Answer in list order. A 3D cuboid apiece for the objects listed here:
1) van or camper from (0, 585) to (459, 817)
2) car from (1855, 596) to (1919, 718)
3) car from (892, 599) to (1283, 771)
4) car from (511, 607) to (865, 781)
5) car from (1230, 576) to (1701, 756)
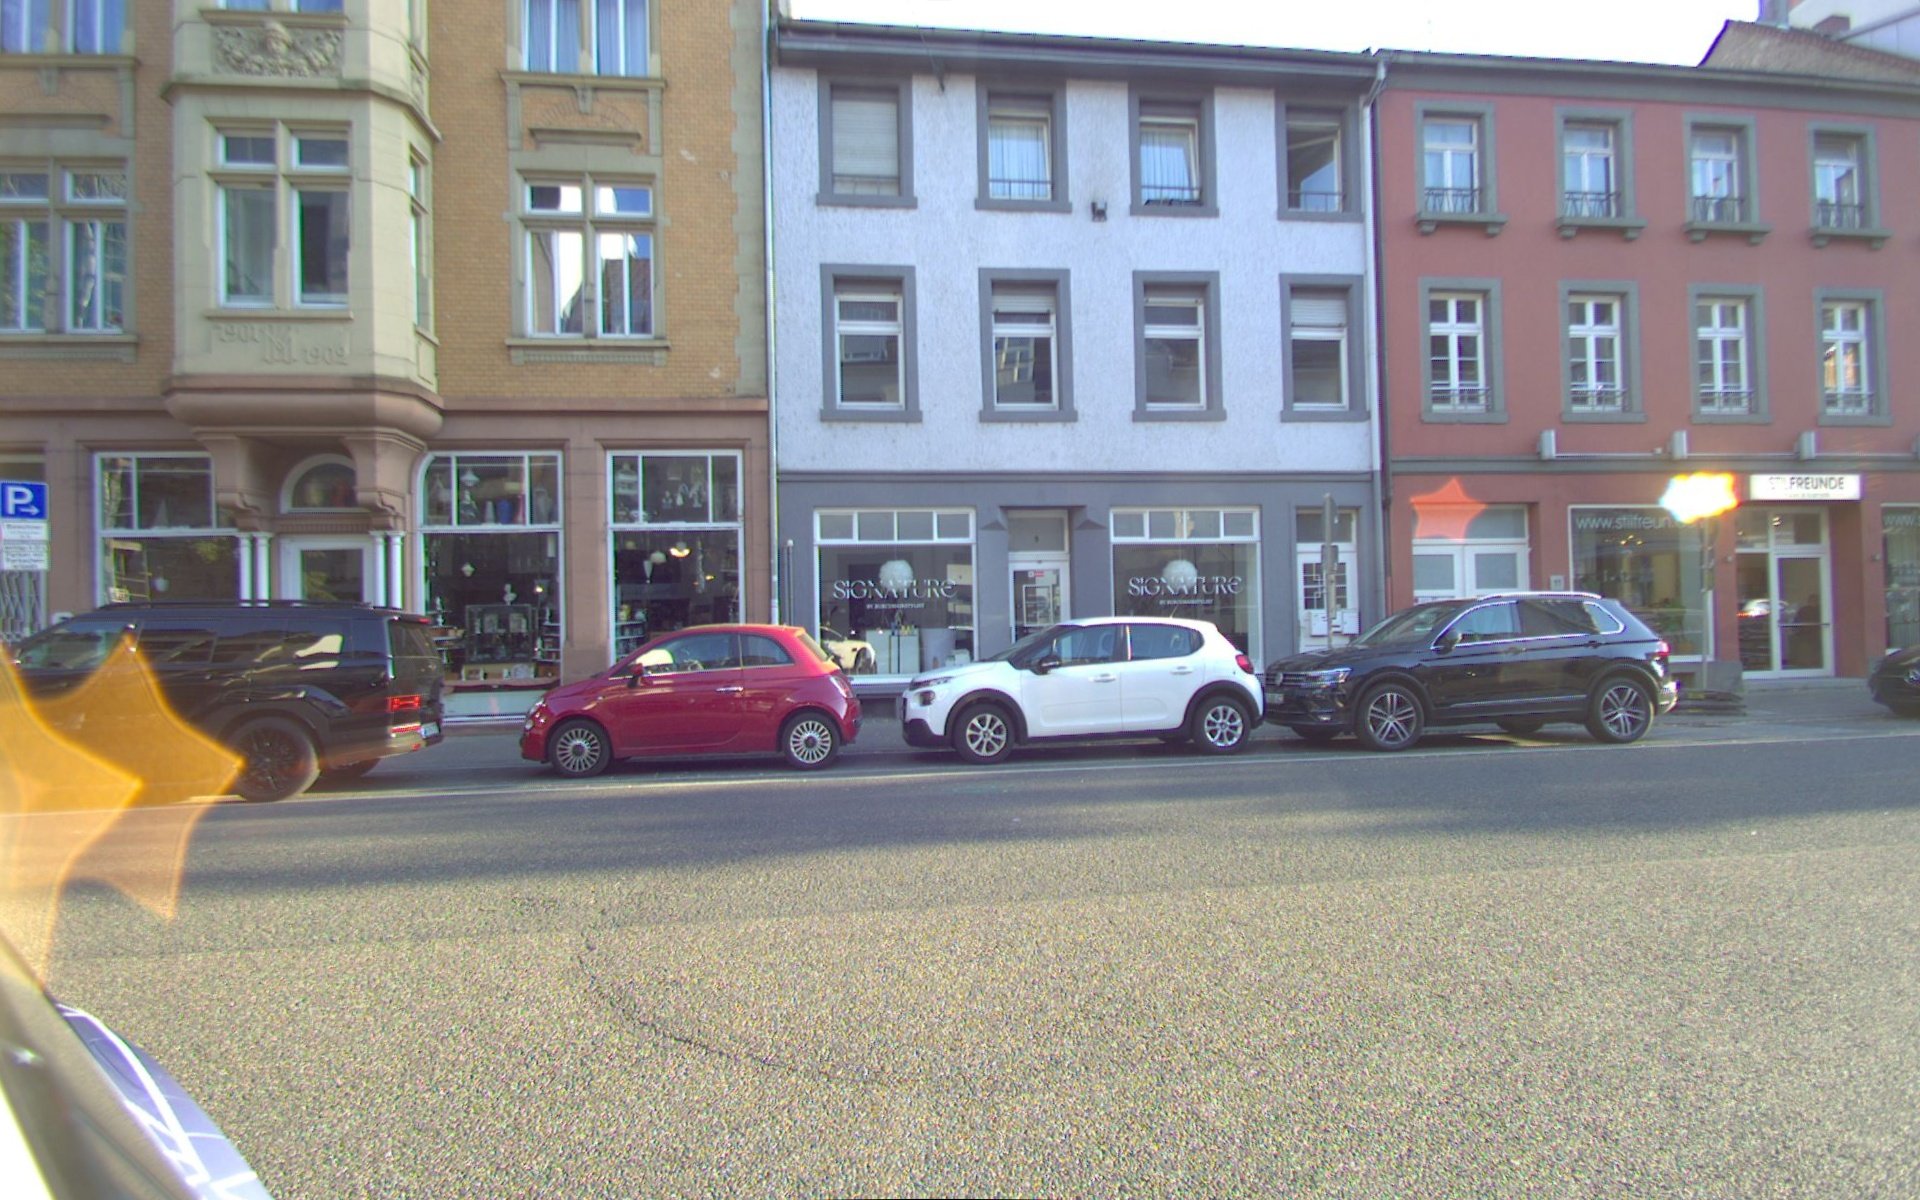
[{"bbox_3d":[-7.214,0.867,9.260,4.386,1.821,1.900,-1,-3,-13],"label":"van or camper"},{"bbox_3d":[14.036,0.637,12.691,4.340,1.499,1.693,-2,-4,-8],"label":"car"},{"bbox_3d":[1.264,0.881,11.027,3.873,1.585,1.669,-2,-3,-7],"label":"car"},{"bbox_3d":[-2.732,0.944,10.688,3.369,1.582,1.532,-1,-3,-6],"label":"car"},{"bbox_3d":[5.540,0.715,11.383,4.389,1.711,1.803,-1,-4,-8],"label":"car"}]
